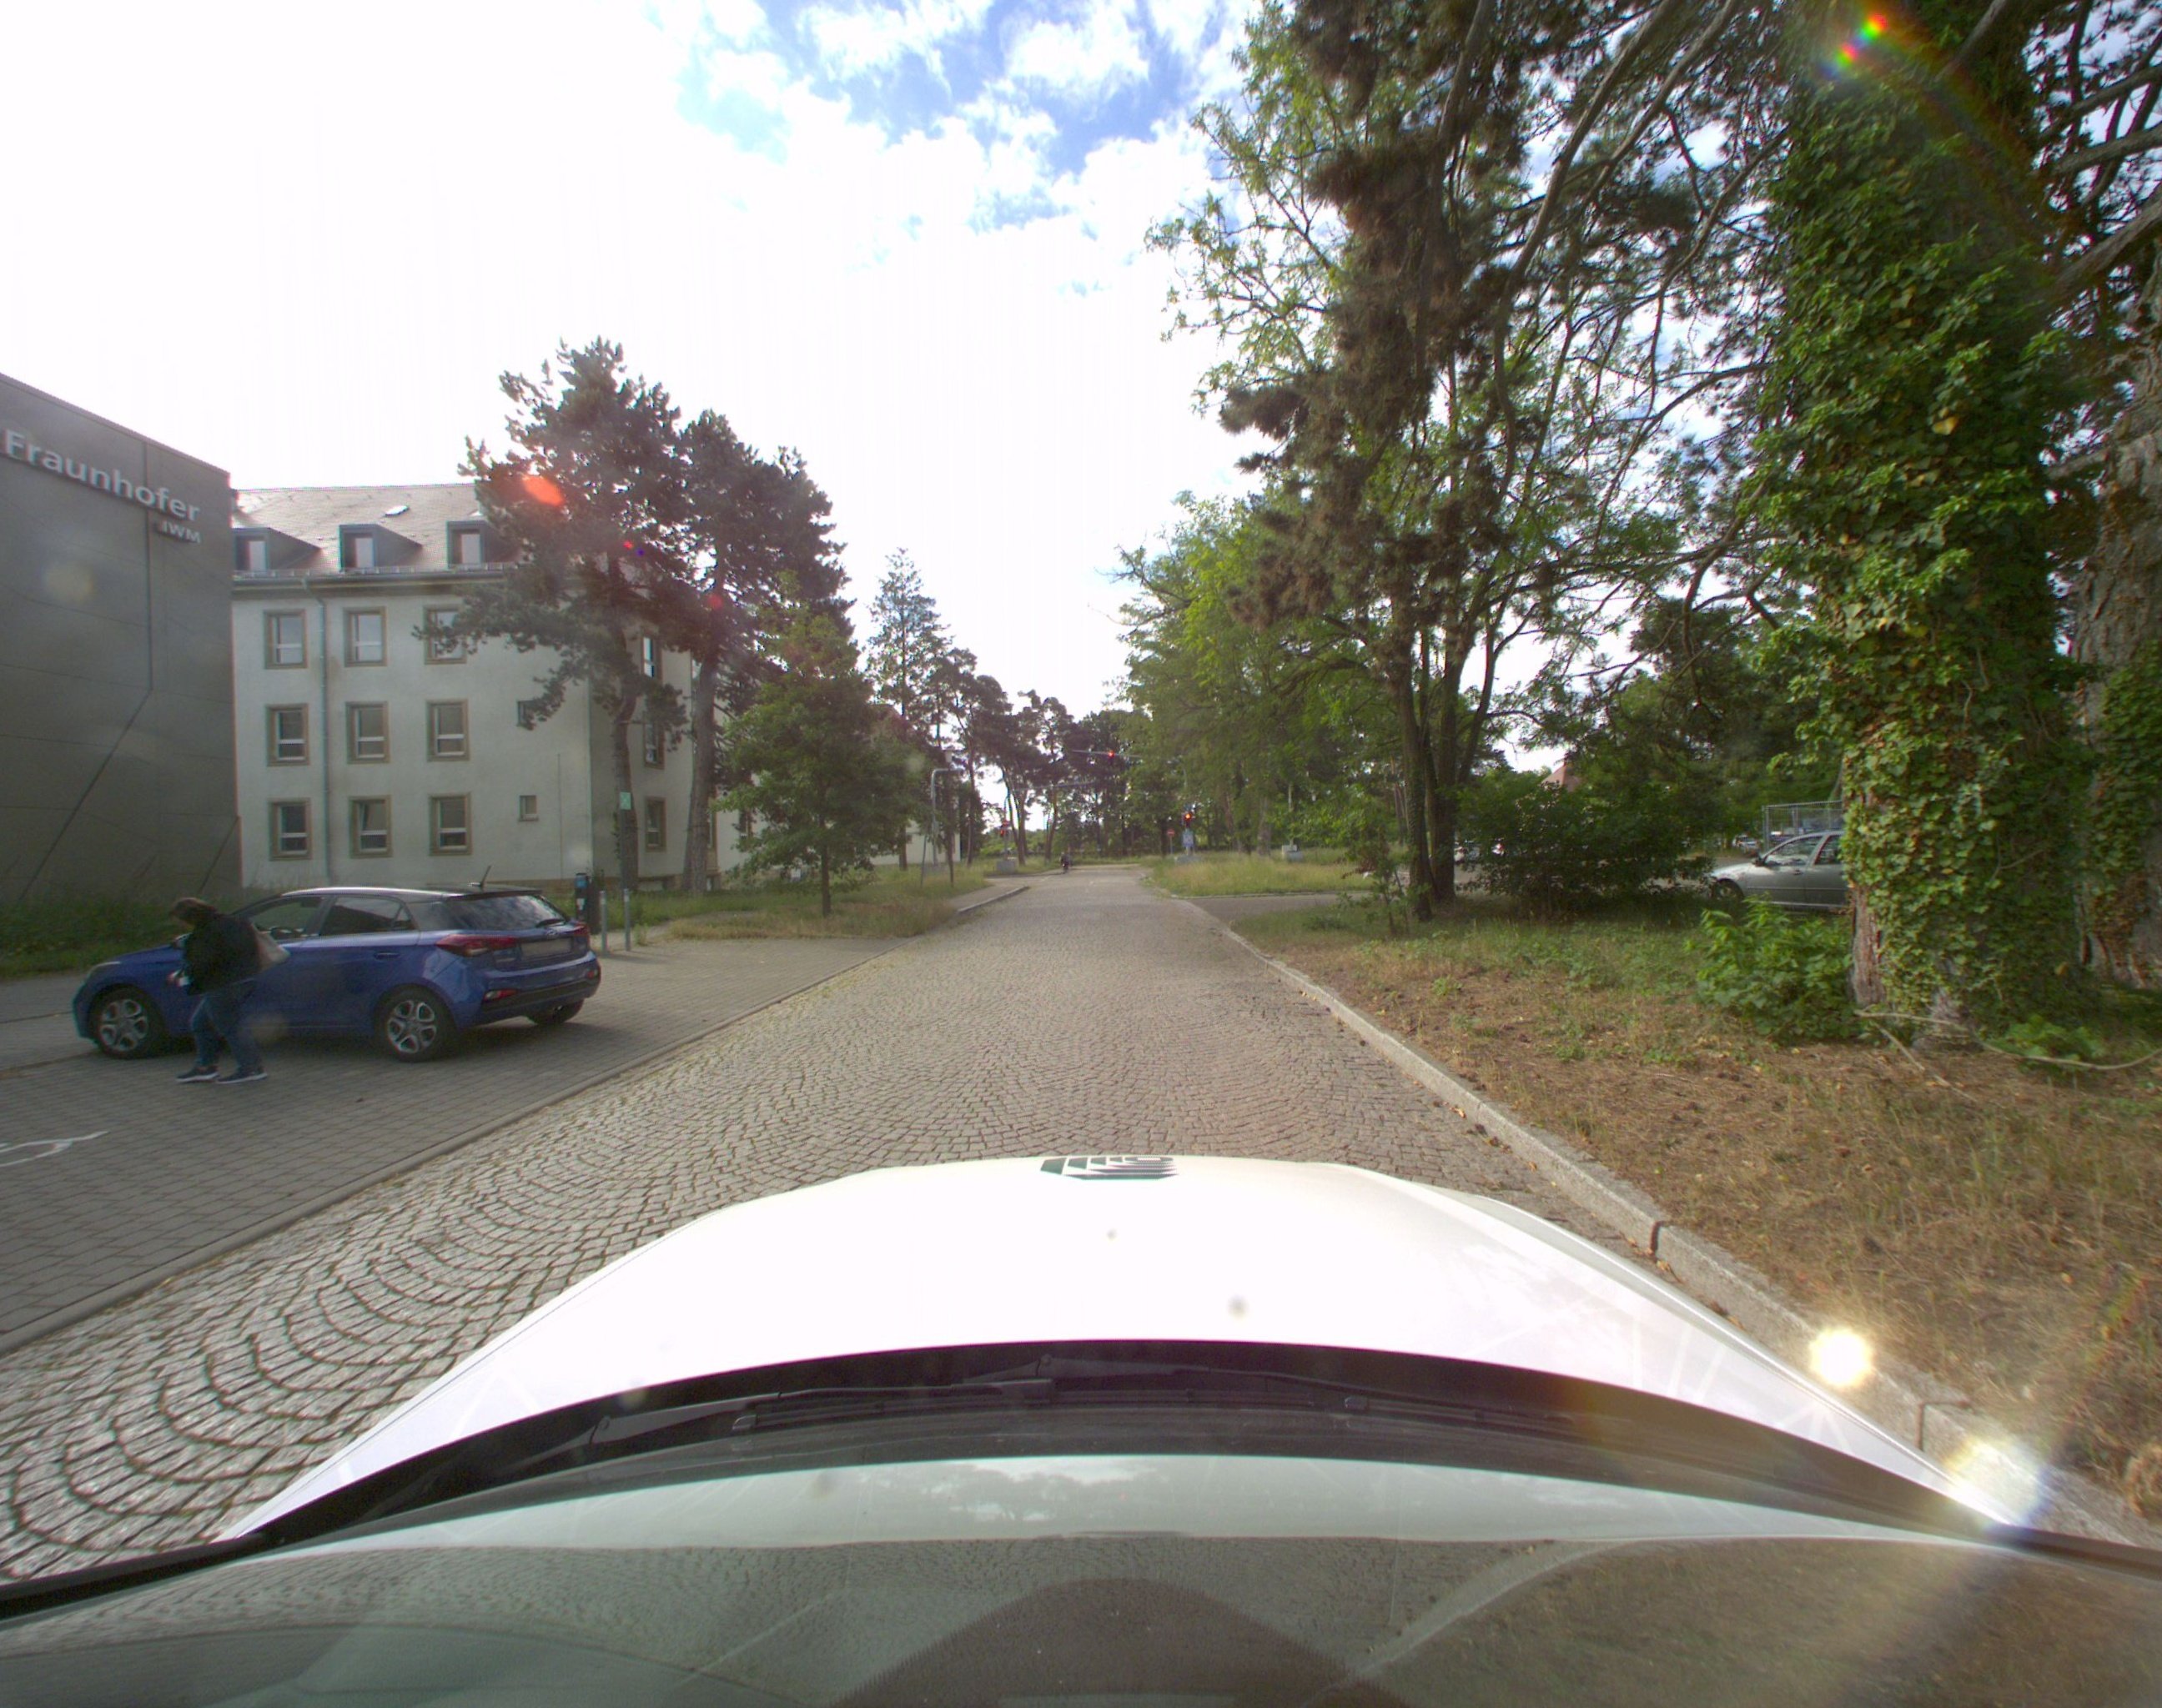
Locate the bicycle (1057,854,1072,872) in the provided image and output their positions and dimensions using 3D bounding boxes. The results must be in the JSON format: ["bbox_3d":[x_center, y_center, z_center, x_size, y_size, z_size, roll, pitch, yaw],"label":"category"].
[{"bbox_3d":[-1.283,0.729,64.926,0.931,1.387,2.188,-2,0,4],"label":"bicycle"}]

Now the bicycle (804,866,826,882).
[{"bbox_3d":[-18.855,1.406,57.796,0.733,1.076,2.274,-2,0,2],"label":"bicycle"}]

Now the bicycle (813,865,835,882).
[{"bbox_3d":[-18.213,1.379,57.863,0.733,1.076,2.274,-2,0,2],"label":"bicycle"}]

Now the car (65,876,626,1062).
[{"bbox_3d":[-6.733,0.988,7.761,3.748,1.478,1.854,0,0,4],"label":"car"}]

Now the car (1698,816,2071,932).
[{"bbox_3d":[11.643,0.252,12.265,1.641,1.427,4.073,1,0,1],"label":"car"}]

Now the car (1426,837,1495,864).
[{"bbox_3d":[23.010,-0.173,49.602,1.988,1.481,4.421,-2,-1,-2],"label":"car"}]

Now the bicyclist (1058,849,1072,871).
[{"bbox_3d":[-1.297,0.451,64.902,0.950,1.697,0.924,-2,-1,4],"label":"bicyclist"}]

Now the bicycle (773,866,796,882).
[{"bbox_3d":[-21.042,1.431,57.813,0.733,1.076,2.274,-2,0,2],"label":"bicycle"}]

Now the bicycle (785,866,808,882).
[{"bbox_3d":[-20.382,1.437,58.293,0.733,1.076,2.274,-2,0,2],"label":"bicycle"}]

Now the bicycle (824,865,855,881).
[{"bbox_3d":[-16.770,1.324,56.582,1.848,1.076,0.739,-2,0,3],"label":"bicycle"}]

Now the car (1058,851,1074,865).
[{"bbox_3d":[-2.058,0.570,113.686,2.049,1.846,4.001,-2,0,1],"label":"car"}]

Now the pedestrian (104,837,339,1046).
[{"bbox_3d":[-6.626,0.636,6.317,0.977,1.494,0.821,-2,0,11],"label":"pedestrian"}]

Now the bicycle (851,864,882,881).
[{"bbox_3d":[-14.886,1.275,56.582,1.848,1.076,0.832,-2,0,3],"label":"bicycle"}]

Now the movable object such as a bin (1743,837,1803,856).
[{"bbox_3d":[31.442,-0.337,37.066,1.179,0.825,1.957,-2,0,6],"label":"movable object such as a bin"}]

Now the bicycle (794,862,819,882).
[{"bbox_3d":[-19.590,1.281,58.167,0.733,1.385,2.712,-2,0,2],"label":"bicycle"}]
